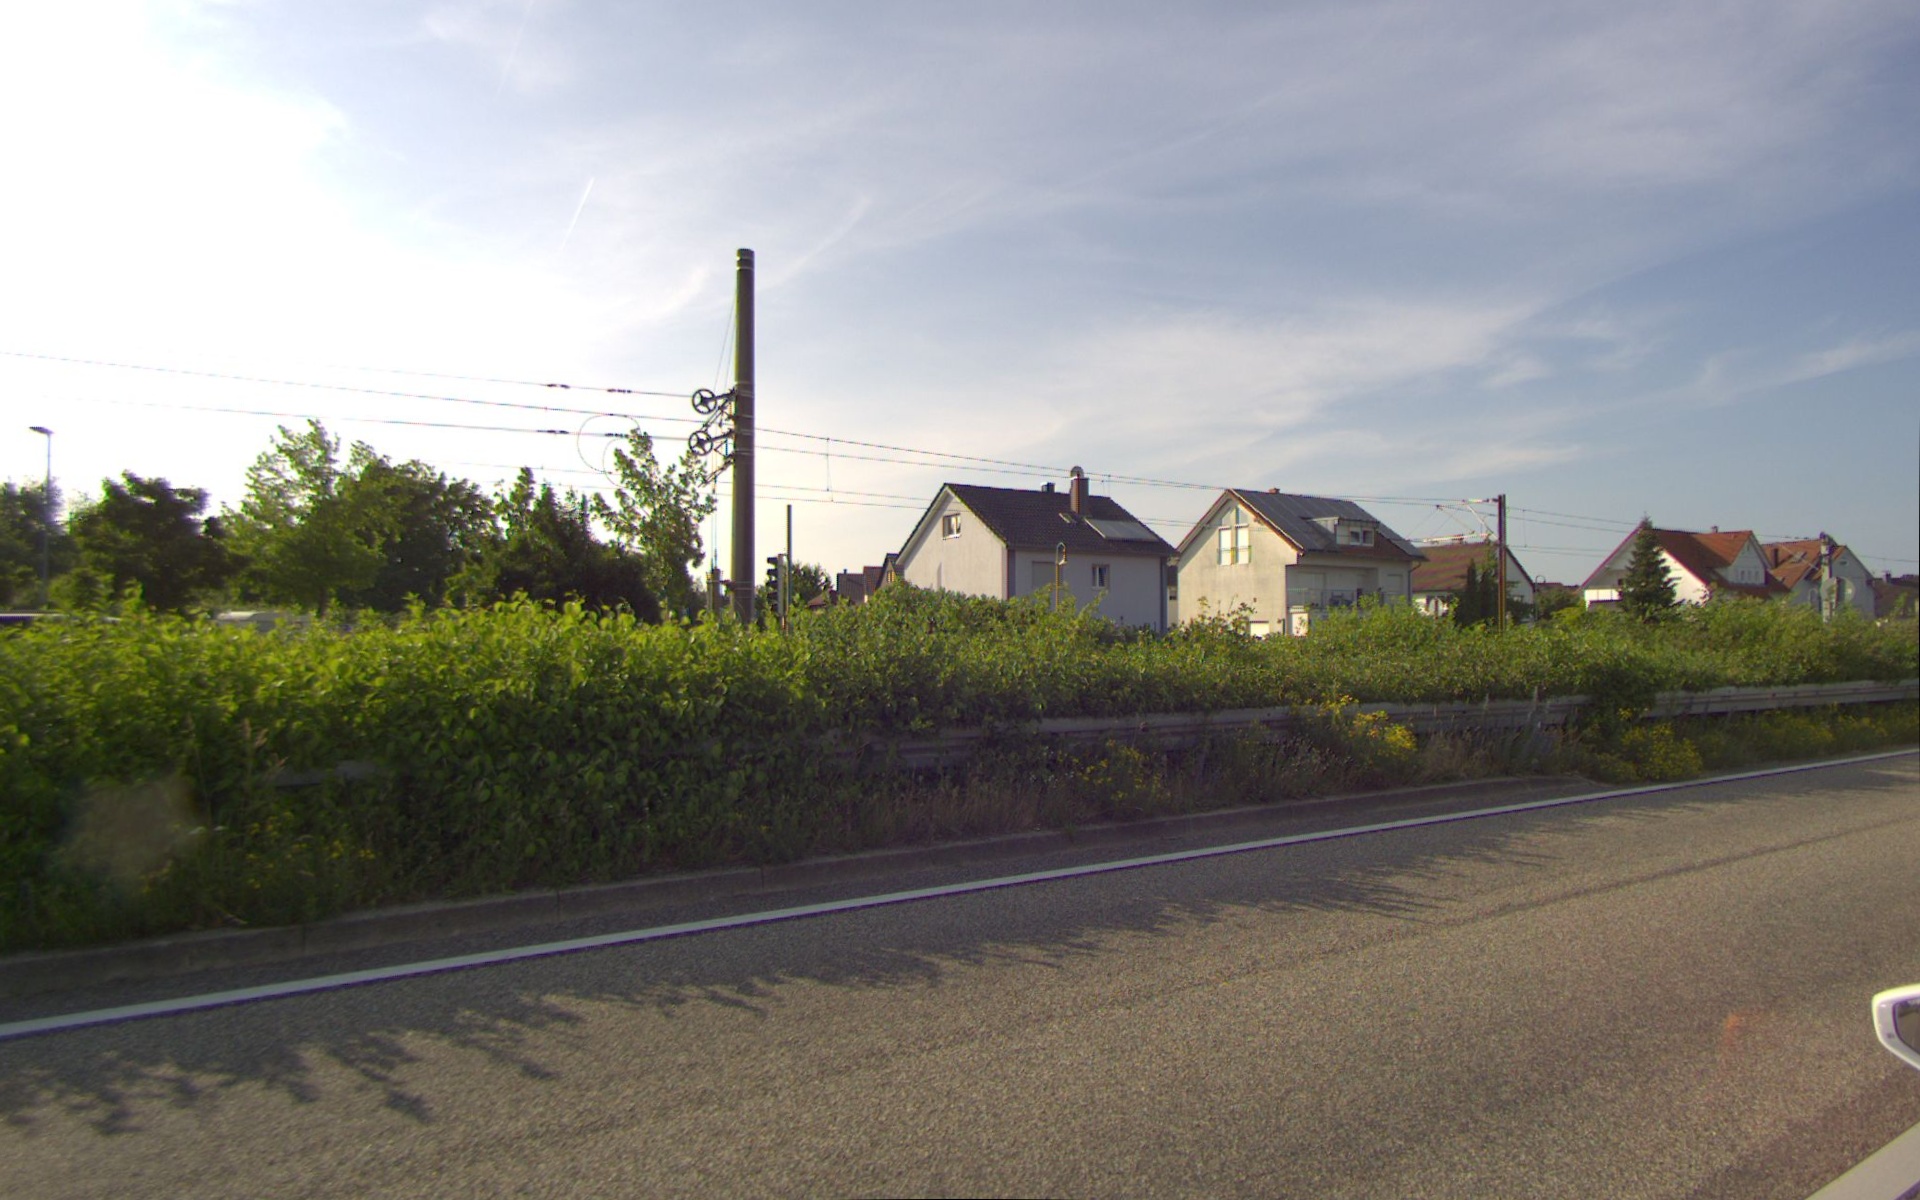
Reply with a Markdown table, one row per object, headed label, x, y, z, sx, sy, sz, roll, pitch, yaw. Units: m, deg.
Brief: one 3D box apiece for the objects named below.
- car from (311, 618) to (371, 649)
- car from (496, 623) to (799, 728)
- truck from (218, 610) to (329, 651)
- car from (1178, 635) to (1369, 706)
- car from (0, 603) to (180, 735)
| label | x | y | z | sx | sy | sz | roll | pitch | yaw |
| --- | --- | --- | --- | --- | --- | --- | --- | --- | --- |
| car | -38.813 | 2.093 | 63.054 | 1.537 | 1.819 | 3.116 | 1 | 0 | 9 |
| car | -4.827 | 1.128 | 15.719 | 4.276 | 1.450 | 1.652 | 1 | -3 | -31 |
| truck | -41.766 | 1.792 | 61.321 | 1.959 | 2.278 | 5.990 | 1 | 0 | 9 |
| car | 7.054 | 1.543 | 22.503 | 4.276 | 1.450 | 1.652 | 1 | -3 | -31 |
| car | -11.662 | 0.784 | 11.353 | 4.276 | 1.450 | 1.652 | 1 | -3 | -31 |
